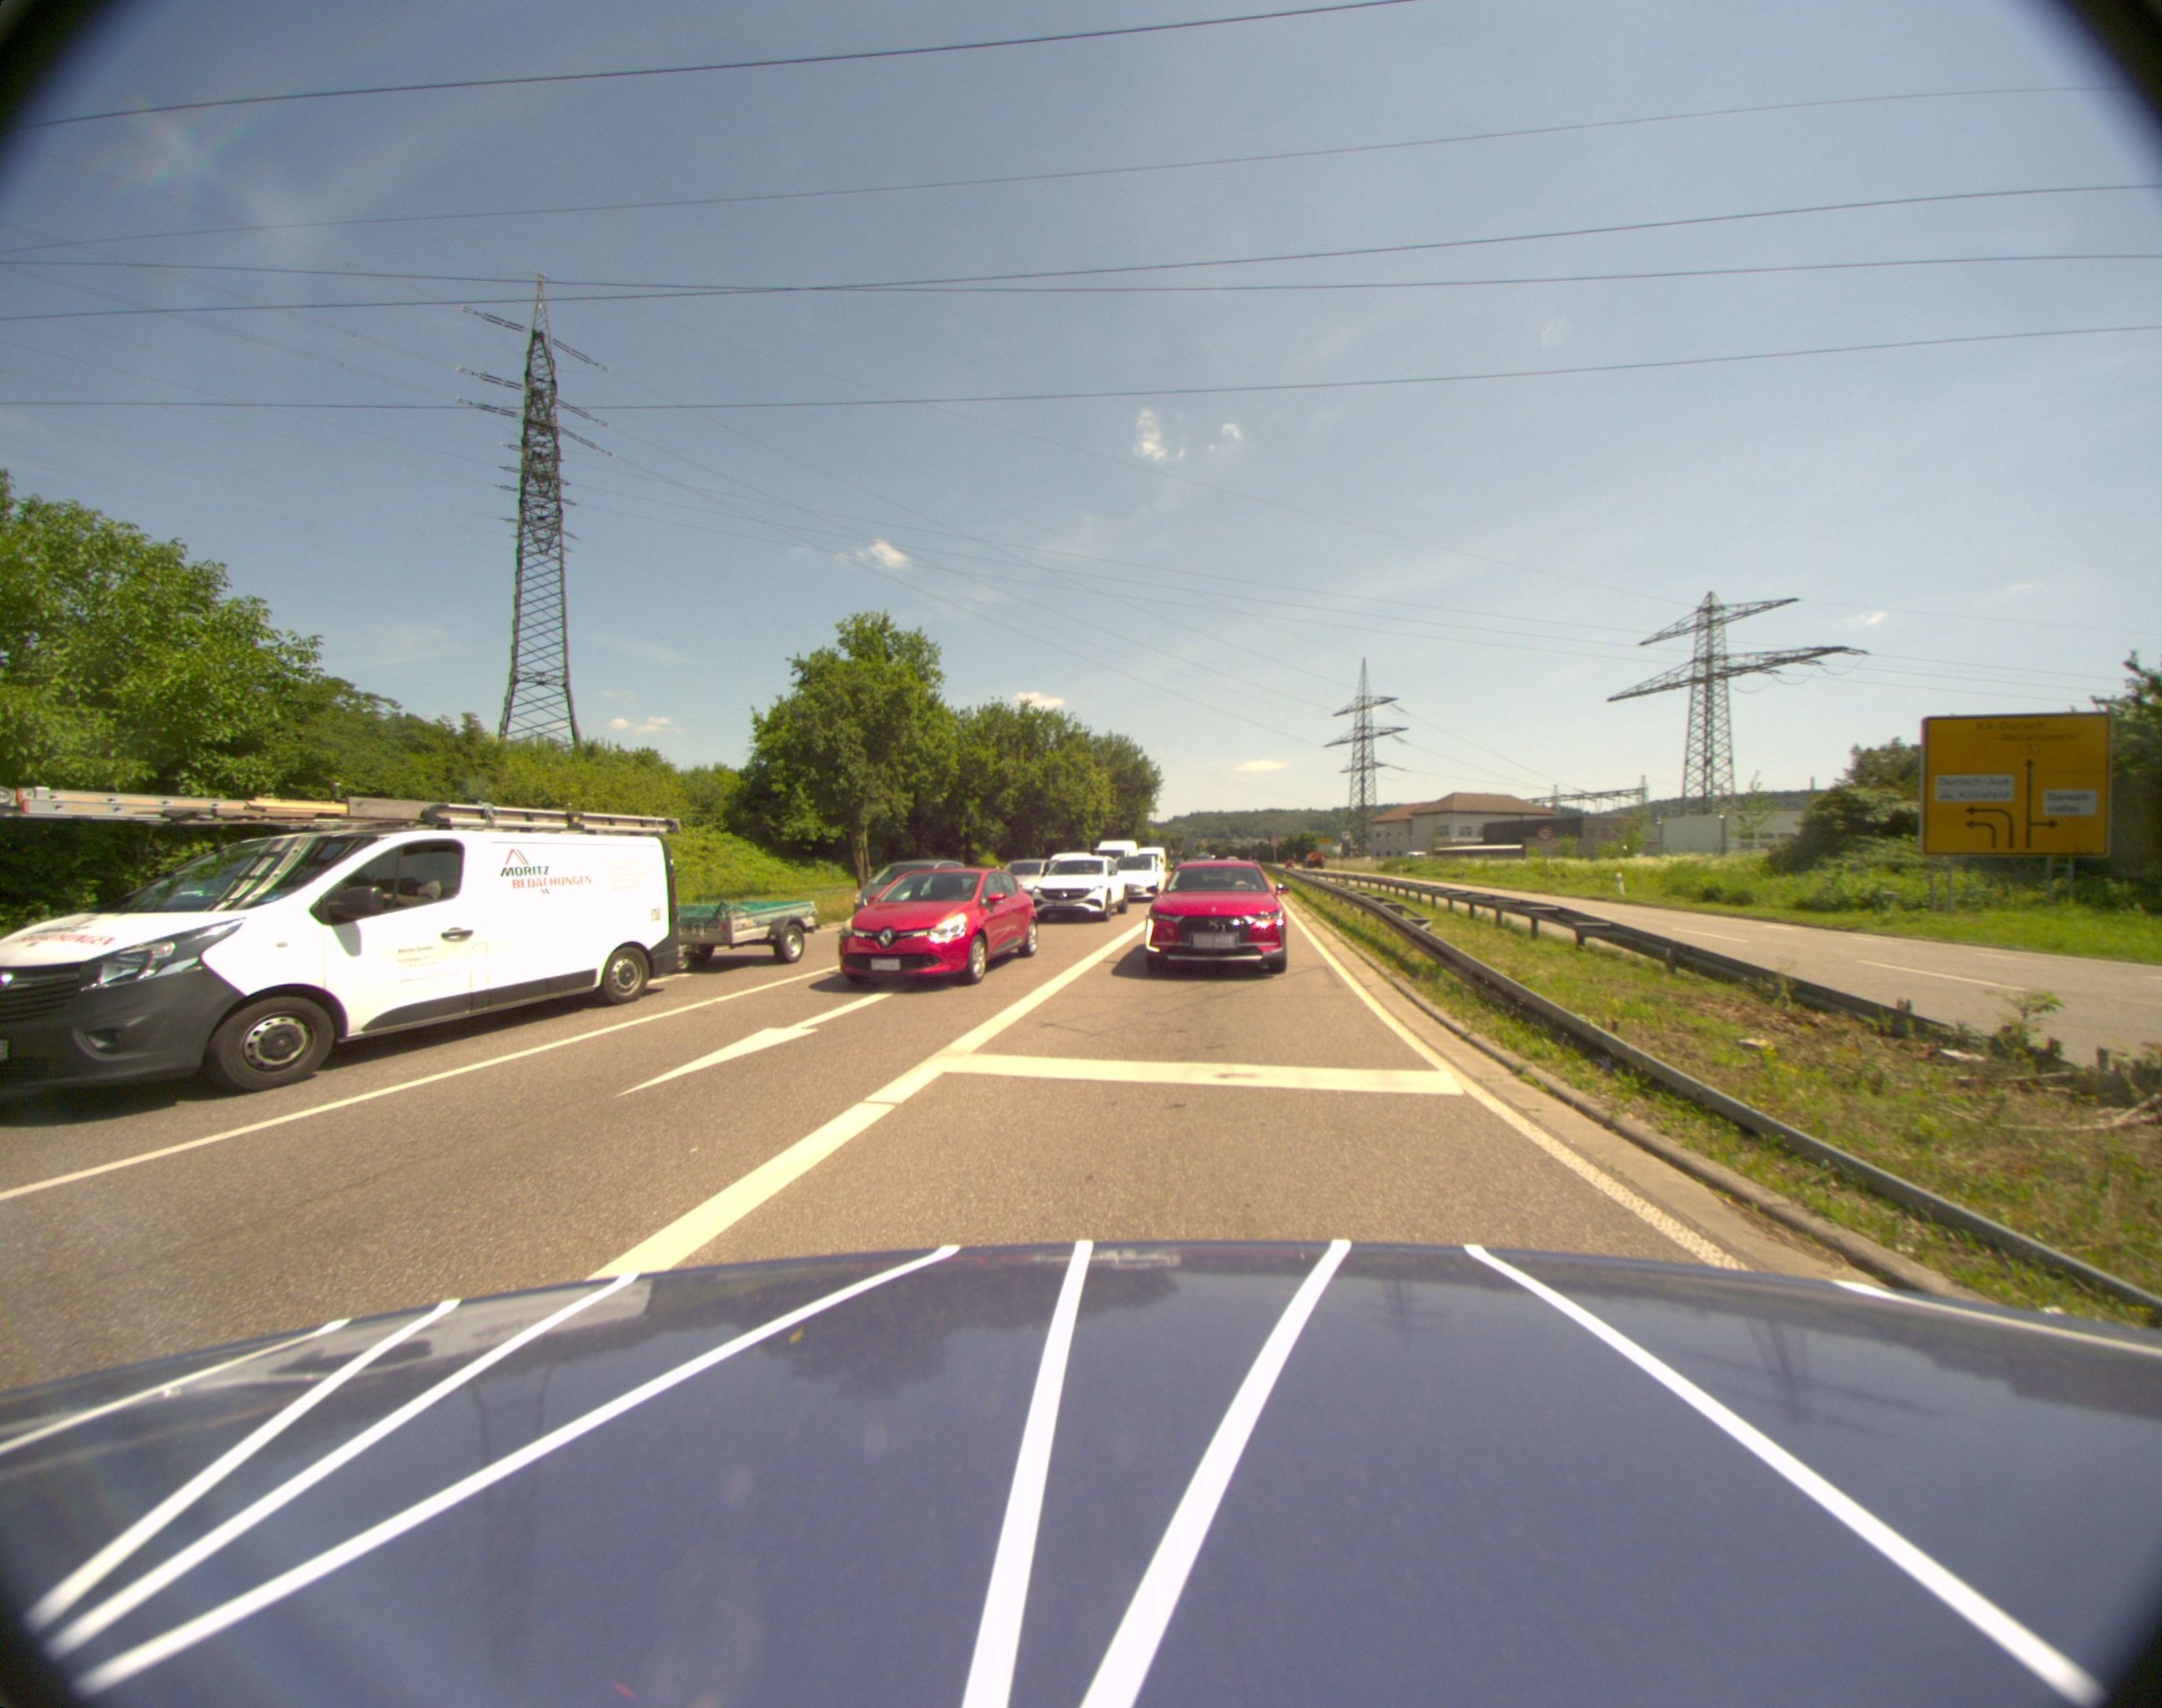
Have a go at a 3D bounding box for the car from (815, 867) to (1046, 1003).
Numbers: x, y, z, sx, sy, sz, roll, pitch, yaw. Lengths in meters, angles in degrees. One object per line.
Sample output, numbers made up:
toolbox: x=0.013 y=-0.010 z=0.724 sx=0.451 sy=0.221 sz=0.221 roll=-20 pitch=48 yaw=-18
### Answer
car: x=-1.838 y=0.967 z=10.685 sx=1.746 sy=1.453 sz=4.068 roll=-1 pitch=0 yaw=11

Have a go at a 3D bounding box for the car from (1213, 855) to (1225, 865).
car: x=29.243 y=1.235 z=160.658 sx=1.996 sy=2.002 sz=4.004 roll=-1 pitch=1 yaw=16

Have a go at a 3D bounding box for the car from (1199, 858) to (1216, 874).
car: x=14.384 y=1.345 z=86.218 sx=1.876 sy=1.674 sz=4.003 roll=-1 pitch=1 yaw=10

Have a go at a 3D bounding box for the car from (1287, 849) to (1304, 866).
car: x=40.491 y=0.627 z=143.516 sx=2.604 sy=3.043 sz=5.644 roll=1 pitch=0 yaw=11

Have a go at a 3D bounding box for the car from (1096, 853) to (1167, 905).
car: x=1.904 y=0.838 z=27.277 sx=2.020 sy=1.671 sz=4.003 roll=-1 pitch=0 yaw=11

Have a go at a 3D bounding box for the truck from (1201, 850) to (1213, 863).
truck: x=24.756 y=0.497 z=149.128 sx=2.168 sy=2.428 sz=4.914 roll=-1 pitch=1 yaw=10

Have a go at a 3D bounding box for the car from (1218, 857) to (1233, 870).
car: x=22.878 y=1.504 z=120.407 sx=1.996 sy=2.002 sz=4.005 roll=1 pitch=0 yaw=16

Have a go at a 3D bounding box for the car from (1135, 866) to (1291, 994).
car: x=2.063 y=0.957 z=11.399 sx=1.845 sy=1.453 sz=4.418 roll=-1 pitch=0 yaw=12

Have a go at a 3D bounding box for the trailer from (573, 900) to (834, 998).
trailer: x=-5.299 y=1.287 z=11.170 sx=1.708 sy=1.000 sz=3.327 roll=-1 pitch=0 yaw=12

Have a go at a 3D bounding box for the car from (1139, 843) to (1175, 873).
car: x=6.550 y=0.341 z=65.061 sx=2.306 sy=2.408 sz=5.820 roll=-1 pitch=0 yaw=13

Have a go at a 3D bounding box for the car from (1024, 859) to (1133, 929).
car: x=0.071 y=0.932 z=19.572 sx=1.848 sy=1.559 sz=4.367 roll=-1 pitch=0 yaw=12

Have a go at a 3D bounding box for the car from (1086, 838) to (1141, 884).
car: x=2.128 y=0.429 z=47.268 sx=2.230 sy=2.591 sz=7.025 roll=-1 pitch=0 yaw=12

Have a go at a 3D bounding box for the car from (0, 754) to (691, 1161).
car: x=-6.298 y=0.613 z=7.034 sx=1.935 sy=2.335 sz=5.080 roll=-1 pitch=0 yaw=12

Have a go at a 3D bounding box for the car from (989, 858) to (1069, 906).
car: x=-1.800 y=0.950 z=27.690 sx=1.745 sy=1.585 sz=4.276 roll=-1 pitch=0 yaw=12

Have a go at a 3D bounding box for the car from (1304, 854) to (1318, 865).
car: x=44.822 y=1.027 z=148.287 sx=1.997 sy=1.904 sz=4.002 roll=-1 pitch=1 yaw=8

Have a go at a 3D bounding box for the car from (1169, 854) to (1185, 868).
car: x=12.382 y=0.859 z=97.744 sx=1.876 sy=1.674 sz=4.003 roll=-1 pitch=1 yaw=10

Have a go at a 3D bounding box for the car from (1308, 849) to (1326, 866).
car: x=43.009 y=0.679 z=138.599 sx=2.604 sy=3.043 sz=5.644 roll=1 pitch=0 yaw=11

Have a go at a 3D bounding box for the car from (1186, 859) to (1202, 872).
car: x=16.943 y=1.676 z=113.895 sx=1.996 sy=1.807 sz=4.003 roll=-1 pitch=1 yaw=13

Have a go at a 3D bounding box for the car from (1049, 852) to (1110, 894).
car: x=0.035 y=0.832 z=35.772 sx=1.807 sy=1.790 sz=5.042 roll=-1 pitch=0 yaw=12

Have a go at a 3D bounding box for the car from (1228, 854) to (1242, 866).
car: x=23.184 y=0.816 z=114.319 sx=1.996 sy=1.752 sz=4.004 roll=1 pitch=0 yaw=14

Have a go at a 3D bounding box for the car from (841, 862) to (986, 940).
car: x=-3.842 y=1.013 z=18.221 sx=1.767 sy=1.586 sz=4.169 roll=0 pitch=0 yaw=13
